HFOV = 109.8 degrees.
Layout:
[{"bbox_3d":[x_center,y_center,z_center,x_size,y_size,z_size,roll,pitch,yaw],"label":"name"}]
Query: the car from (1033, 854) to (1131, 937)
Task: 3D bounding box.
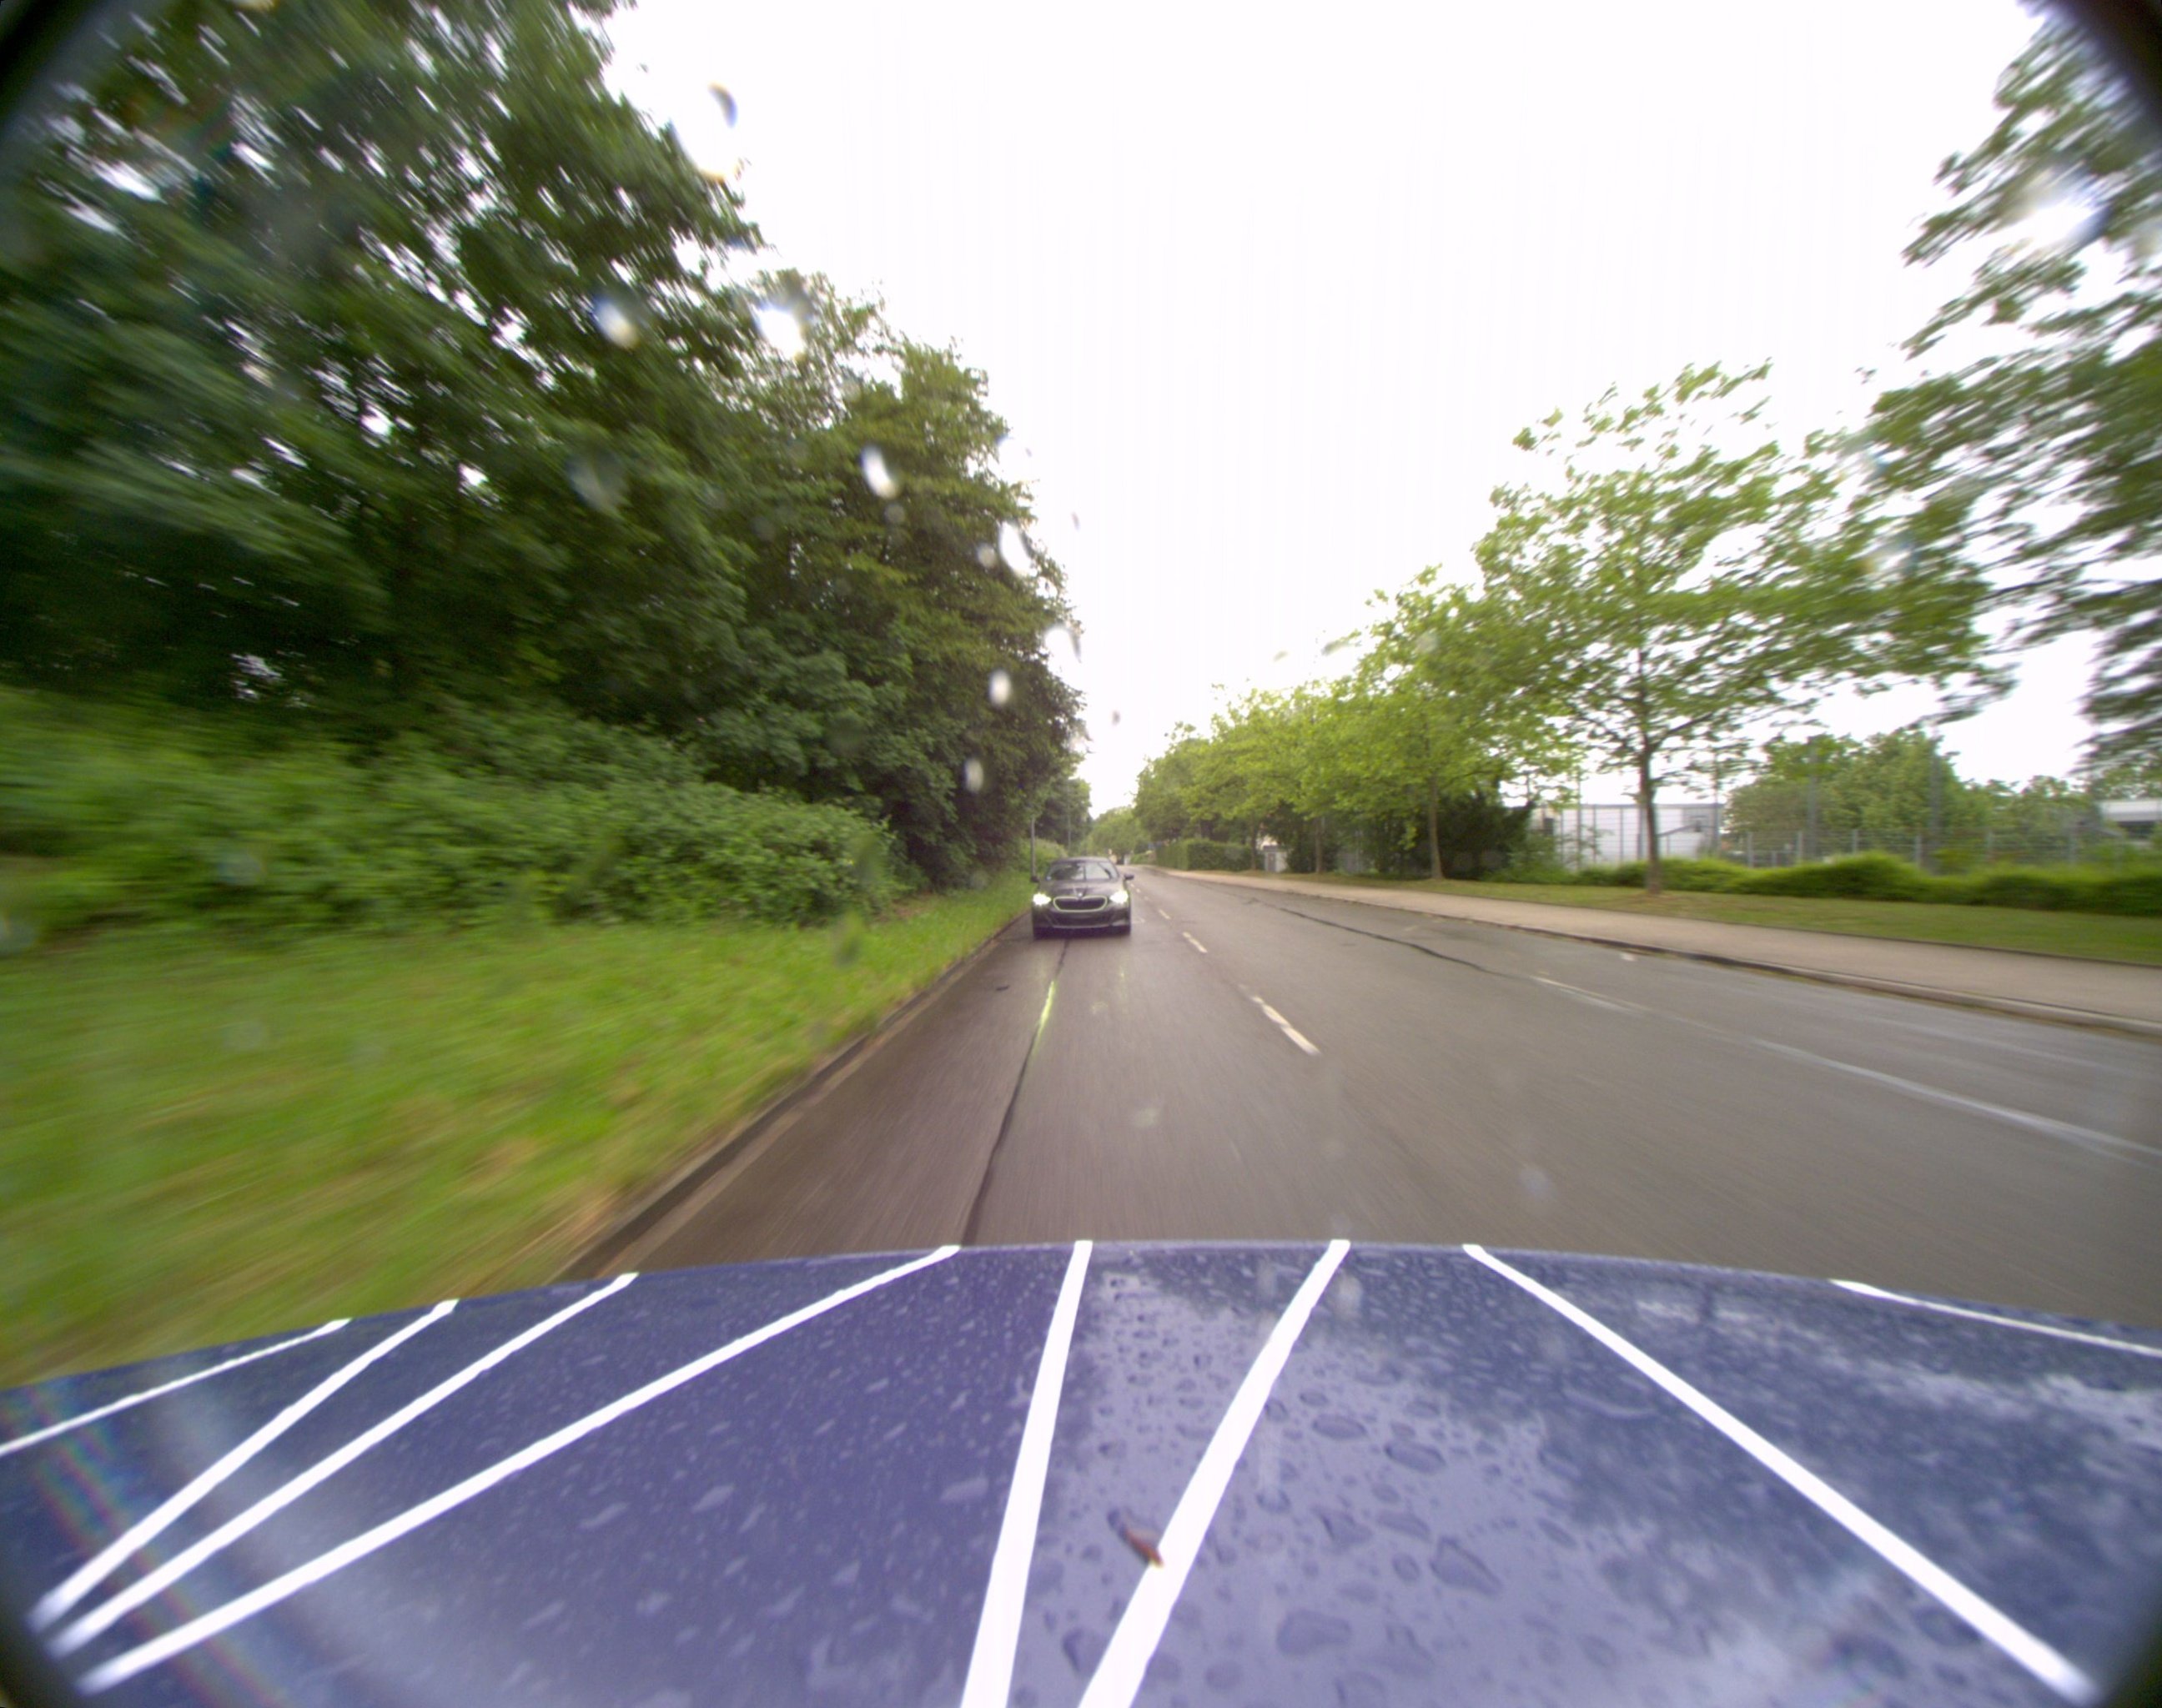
[{"bbox_3d":[0.032,0.802,16.836,1.832,1.499,4.498,-2,1,0],"label":"car"}]
